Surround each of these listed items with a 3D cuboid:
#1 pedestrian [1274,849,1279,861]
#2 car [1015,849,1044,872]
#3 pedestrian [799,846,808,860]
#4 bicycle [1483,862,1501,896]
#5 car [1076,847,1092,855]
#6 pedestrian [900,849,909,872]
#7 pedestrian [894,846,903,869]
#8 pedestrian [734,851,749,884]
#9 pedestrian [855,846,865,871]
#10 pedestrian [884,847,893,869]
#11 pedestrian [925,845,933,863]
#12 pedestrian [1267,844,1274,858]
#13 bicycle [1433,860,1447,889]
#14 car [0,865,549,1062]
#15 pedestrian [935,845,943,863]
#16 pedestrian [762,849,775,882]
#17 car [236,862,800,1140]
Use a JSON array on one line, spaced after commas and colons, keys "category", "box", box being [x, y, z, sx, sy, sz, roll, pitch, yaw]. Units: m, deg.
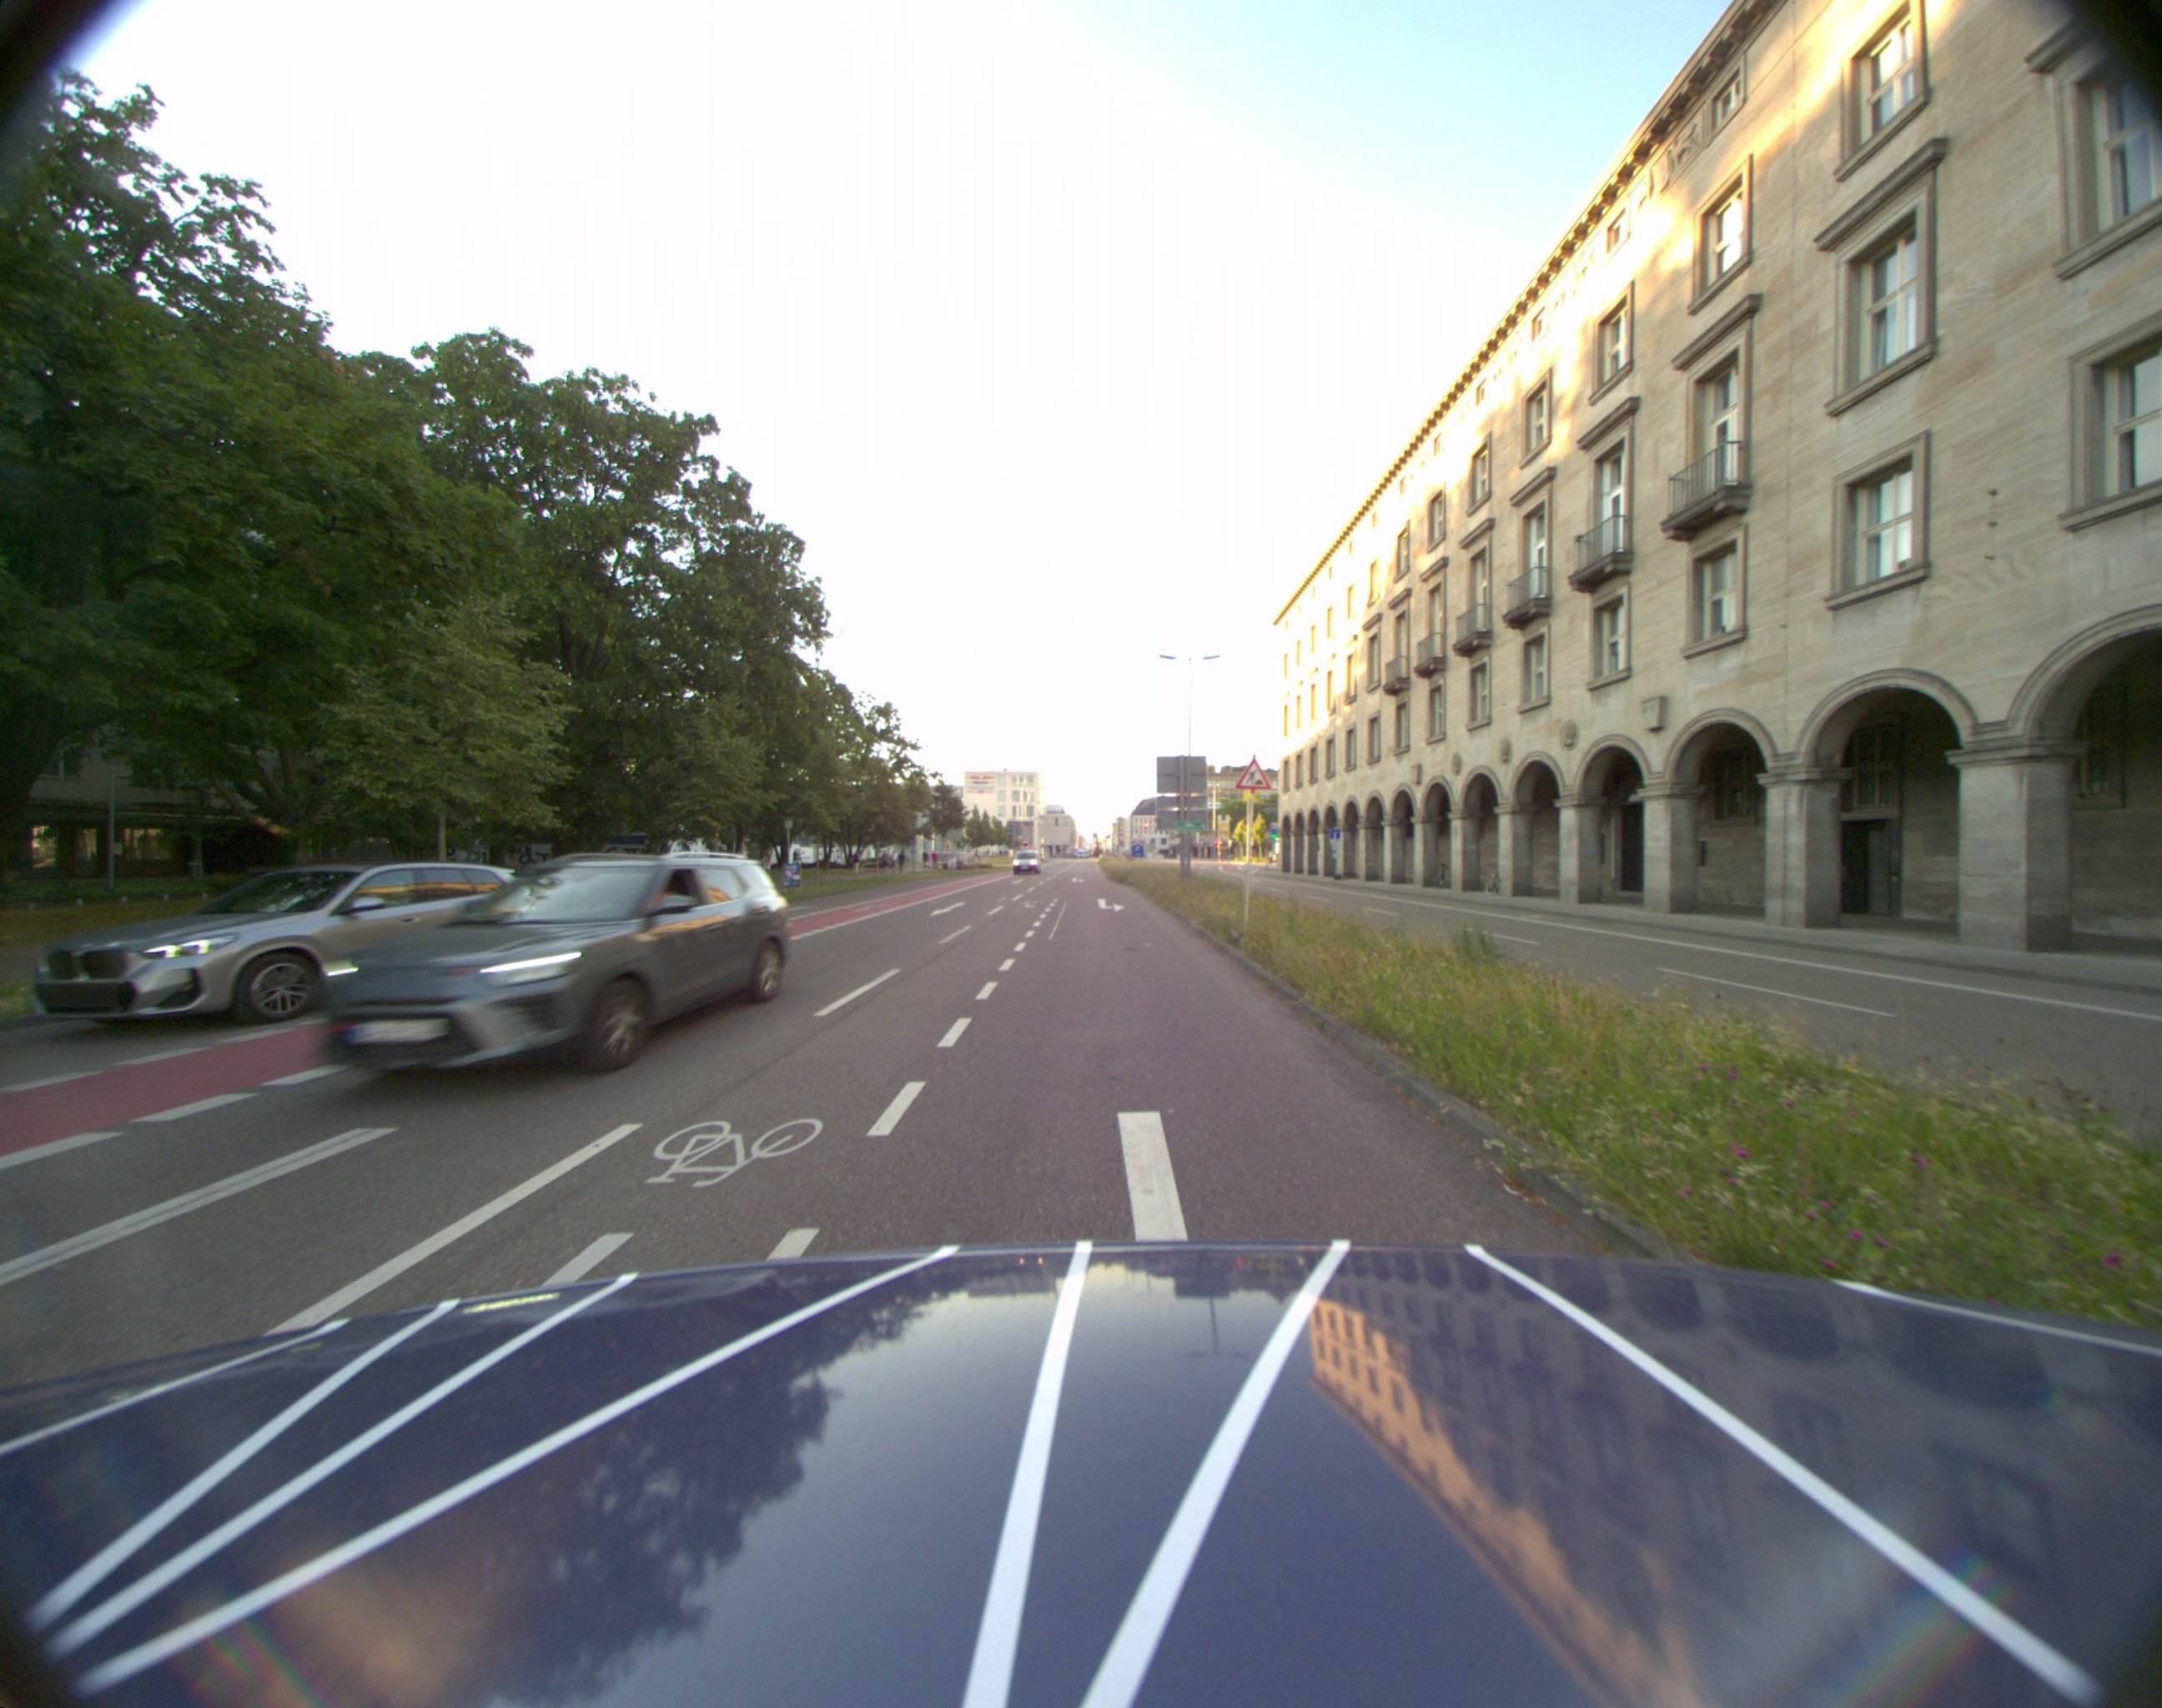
[{"category": "pedestrian", "box": [23.773, 0.123, 92.527, 0.526, 1.532, 0.390, 0, 1, 1]}, {"category": "car", "box": [-3.806, 0.456, 56.634, 1.782, 1.676, 4.215, 0, 0, 1]}, {"category": "pedestrian", "box": [-27.212, -0.065, 74.536, 0.662, 1.347, 0.559, 0, 1, 1]}, {"category": "bicycle", "box": [15.244, 0.910, 28.152, 0.513, 1.115, 2.427, 1, 2, 30]}, {"category": "car", "box": [0.909, -0.769, 217.849, 1.994, 2.297, 5.100, 1, 1, 36]}, {"category": "pedestrian", "box": [-13.388, 0.458, 57.603, 0.558, 1.729, 0.555, 0, 1, 1]}, {"category": "pedestrian", "box": [-14.326, 0.271, 59.573, 0.509, 1.720, 0.719, 0, 1, 1]}, {"category": "pedestrian", "box": [-16.619, 0.640, 37.239, 0.500, 1.592, 0.522, 0, 1, 1]}, {"category": "pedestrian", "box": [-15.080, 0.314, 51.841, 0.509, 1.720, 0.719, 0, 1, 1]}, {"category": "pedestrian", "box": [-15.161, 0.292, 59.767, 0.519, 1.720, 0.719, 0, 1, 1]}, {"category": "pedestrian", "box": [-14.617, 0.002, 72.901, 0.638, 1.747, 0.506, 0, 1, 1]}, {"category": "pedestrian", "box": [23.072, -0.381, 92.551, 0.638, 1.747, 0.506, 0, 1, 1]}, {"category": "bicycle", "box": [15.439, 0.859, 32.710, 0.513, 1.172, 2.427, 1, 1, 25]}, {"category": "car", "box": [-8.822, 1.014, 8.899, 1.825, 1.612, 4.338, -2, 0, 5]}, {"category": "pedestrian", "box": [-13.589, -0.021, 72.797, 0.638, 1.747, 0.506, 0, 1, 1]}, {"category": "pedestrian", "box": [-15.455, 0.570, 37.549, 0.500, 1.592, 0.365, 0, 1, 1]}, {"category": "car", "box": [-4.216, 0.926, 6.742, 1.782, 1.617, 4.215, -1, 0, 1]}]
